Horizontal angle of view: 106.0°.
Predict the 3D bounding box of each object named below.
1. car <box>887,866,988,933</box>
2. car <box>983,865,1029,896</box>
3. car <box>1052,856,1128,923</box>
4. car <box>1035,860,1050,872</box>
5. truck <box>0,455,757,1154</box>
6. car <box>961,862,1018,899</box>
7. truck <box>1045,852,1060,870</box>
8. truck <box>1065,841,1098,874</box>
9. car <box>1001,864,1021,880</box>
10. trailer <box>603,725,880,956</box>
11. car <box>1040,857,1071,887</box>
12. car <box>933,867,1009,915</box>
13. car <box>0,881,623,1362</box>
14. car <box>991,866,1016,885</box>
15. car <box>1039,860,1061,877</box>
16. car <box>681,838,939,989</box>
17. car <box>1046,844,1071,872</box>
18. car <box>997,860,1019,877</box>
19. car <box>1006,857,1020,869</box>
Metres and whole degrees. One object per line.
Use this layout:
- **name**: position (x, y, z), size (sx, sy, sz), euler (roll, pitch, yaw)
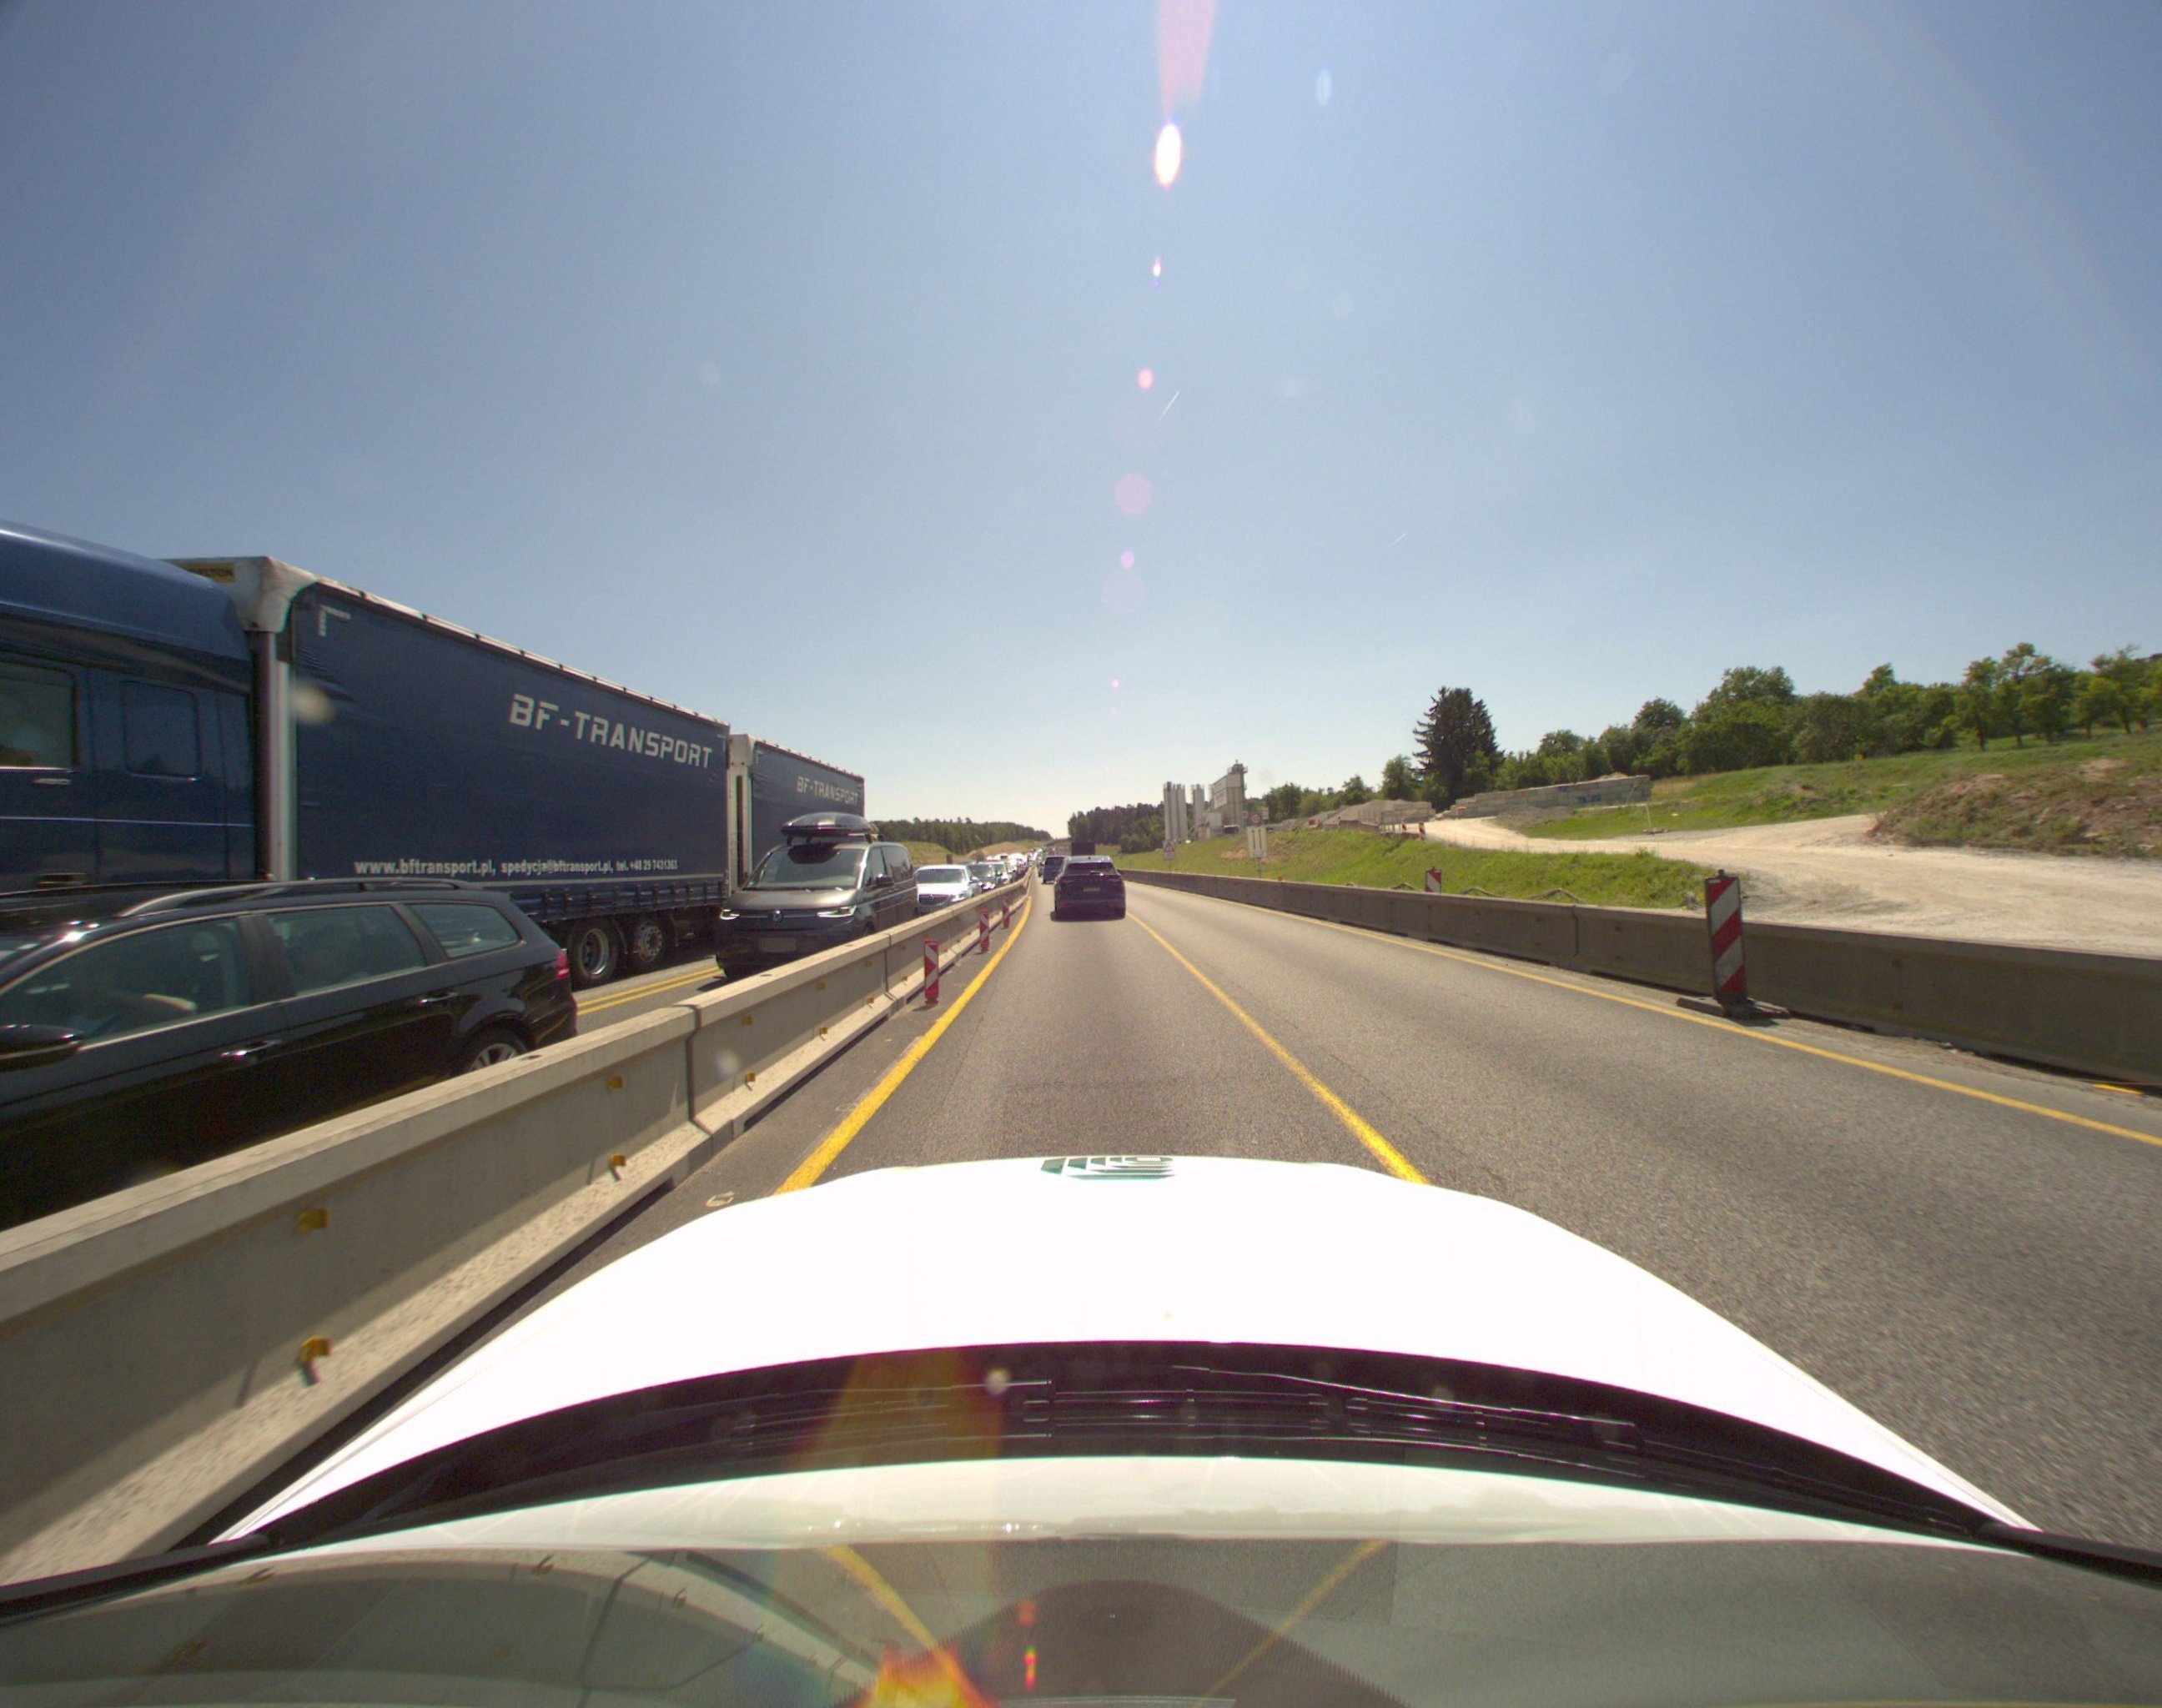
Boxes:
- **car**: position (-3.619, 1.105, 21.306), size (1.988, 1.530, 4.056), euler (-1, -1, -2)
- **car**: position (-4.130, 1.432, 45.782), size (2.038, 1.526, 5.066), euler (-2, 0, 0)
- **car**: position (0.157, 0.884, 22.138), size (1.838, 1.582, 3.997), euler (-2, 0, -2)
- **car**: position (-5.094, 1.594, 108.860), size (1.815, 1.644, 3.864), euler (-1, 0, -1)
- **truck**: position (-7.575, -0.246, 9.455), size (2.762, 4.137, 10.876), euler (-2, 0, 2)
- **car**: position (-4.240, 1.195, 38.689), size (2.038, 1.526, 5.066), euler (-2, 0, 0)
- **truck**: position (-7.120, 1.753, 202.543), size (3.466, 4.221, 10.368), euler (-2, 0, -2)
- **truck**: position (0.012, 0.351, 78.864), size (2.668, 2.945, 5.612), euler (-3, -1, -4)
- **car**: position (-6.204, 1.552, 72.754), size (1.614, 1.324, 3.690), euler (-2, 0, -4)
- **trailer**: position (-7.236, -0.221, 19.001), size (2.727, 4.137, 8.188), euler (-2, 0, 1)
- **car**: position (-1.751, 1.184, 55.480), size (1.989, 1.844, 3.996), euler (-2, 0, -3)
- **car**: position (-3.957, 1.292, 30.163), size (2.038, 1.526, 5.066), euler (-2, 0, 0)
- **car**: position (-4.243, 0.911, 3.378), size (1.728, 1.446, 4.801), euler (-2, -1, 3)
- **car**: position (-5.422, 1.505, 57.478), size (1.614, 1.230, 3.690), euler (-2, 0, -4)
- **car**: position (-3.136, 1.426, 81.264), size (2.041, 1.526, 5.060), euler (-3, 0, -3)
- **car**: position (-3.765, 0.745, 12.496), size (2.037, 1.777, 5.068), euler (-2, 0, 2)
- **car**: position (-3.625, 0.621, 127.407), size (3.430, 4.101, 9.182), euler (1, 0, -5)
- **car**: position (-6.066, 1.169, 67.914), size (1.614, 1.324, 3.690), euler (-2, 0, -4)
- **car**: position (-8.308, 1.124, 99.898), size (1.614, 1.324, 3.690), euler (-2, 0, -4)
